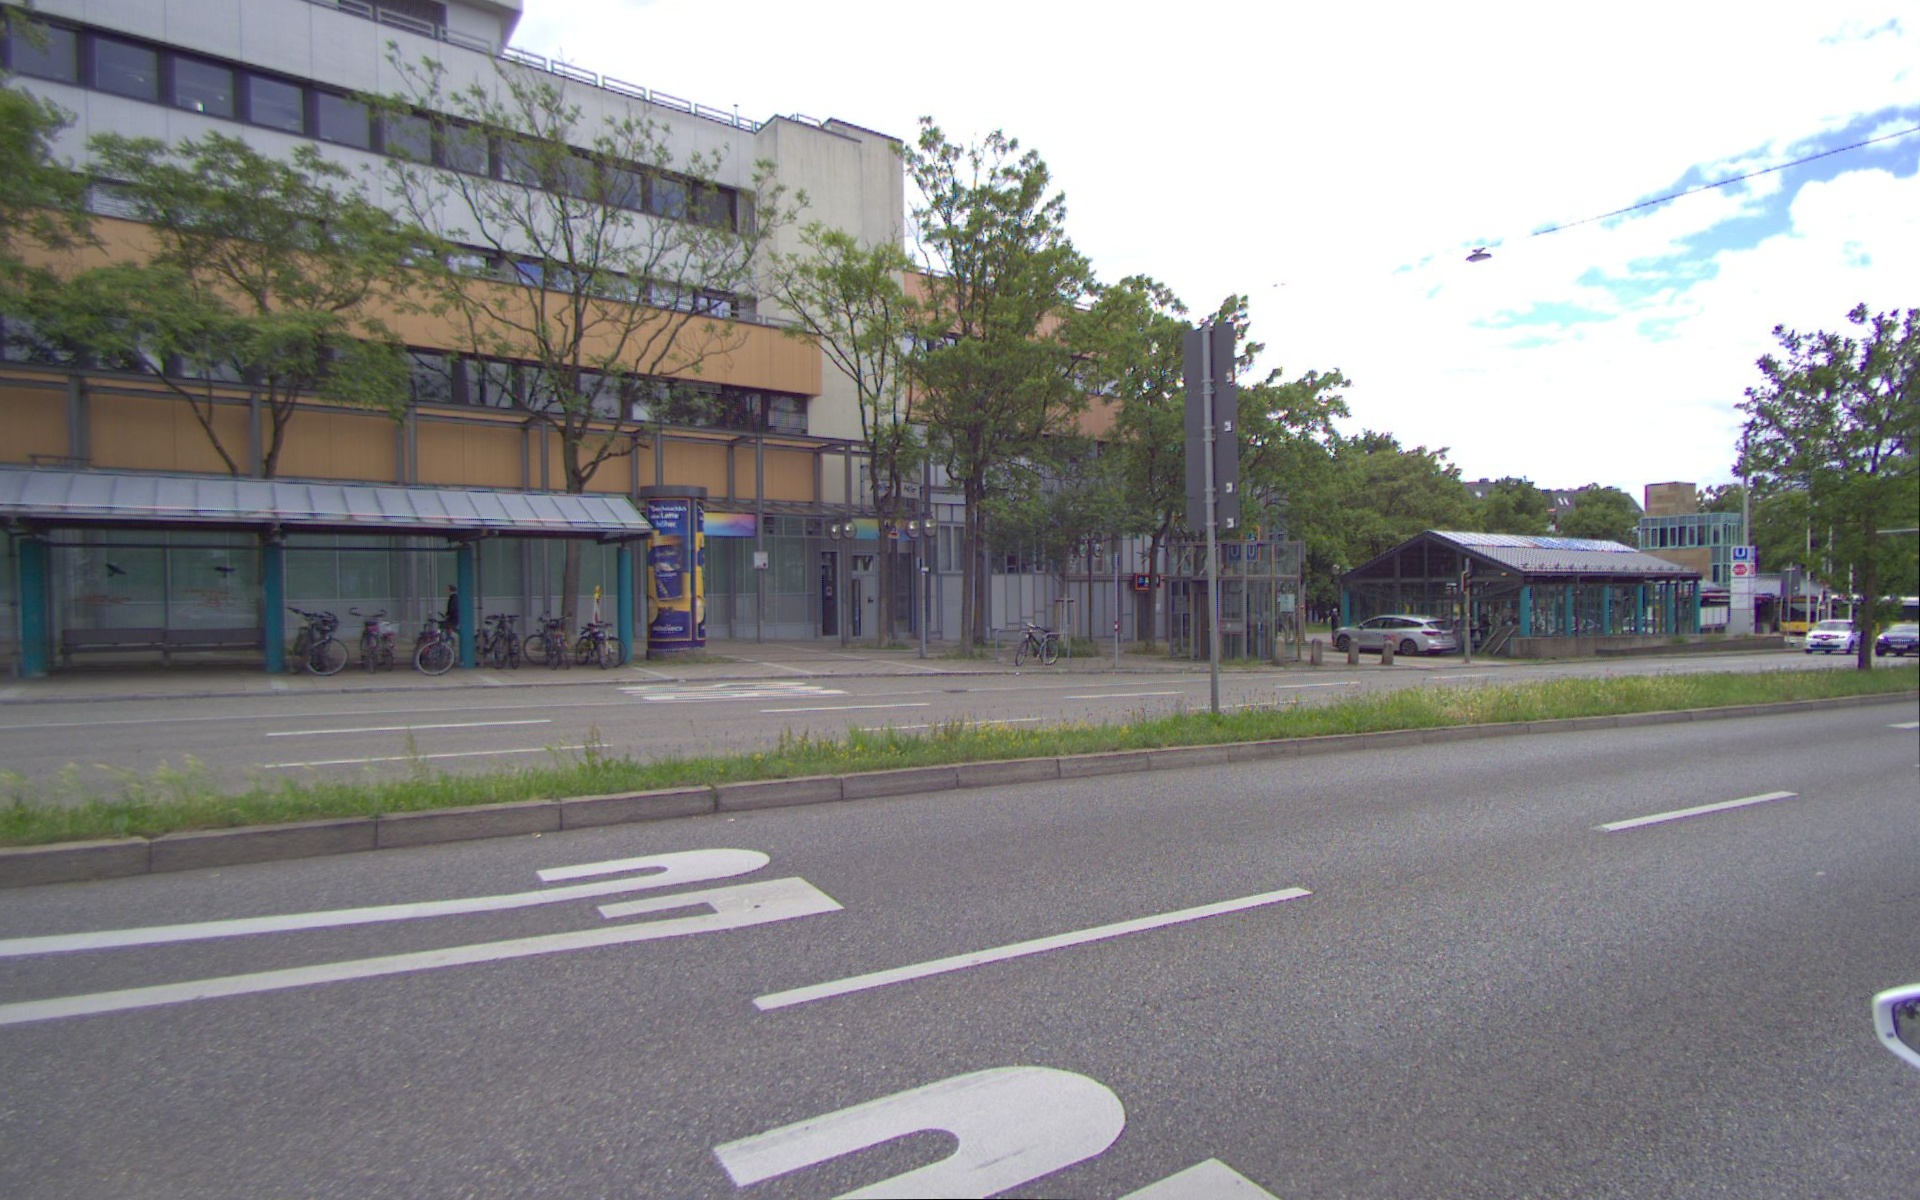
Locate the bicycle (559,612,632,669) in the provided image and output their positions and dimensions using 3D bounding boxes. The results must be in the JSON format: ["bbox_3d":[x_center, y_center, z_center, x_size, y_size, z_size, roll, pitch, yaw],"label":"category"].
[{"bbox_3d":[-8.196,0.888,22.519,2.043,1.169,0.707,1,0,44],"label":"bicycle"}]

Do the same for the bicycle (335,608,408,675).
[{"bbox_3d":[-11.582,0.787,19.731,2.043,1.169,0.707,3,2,44],"label":"bicycle"}]

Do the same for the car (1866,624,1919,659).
[{"bbox_3d":[40.574,1.762,42.844,4.961,1.416,1.802,1,-2,-35],"label":"car"}]

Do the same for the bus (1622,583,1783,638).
[{"bbox_3d":[46.545,0.669,62.811,12.001,3.175,2.946,1,0,-27],"label":"bus"}]

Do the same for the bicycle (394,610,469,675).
[{"bbox_3d":[-10.529,0.821,19.972,2.043,1.169,0.707,2,1,44],"label":"bicycle"}]

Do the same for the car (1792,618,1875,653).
[{"bbox_3d":[39.993,1.584,45.970,3.954,1.537,1.739,1,-1,-31],"label":"car"}]

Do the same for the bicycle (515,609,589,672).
[{"bbox_3d":[-8.864,0.854,21.780,2.043,1.169,0.707,5,3,44],"label":"bicycle"}]

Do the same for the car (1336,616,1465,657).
[{"bbox_3d":[16.316,1.317,37.293,1.985,1.372,3.950,1,-1,-42],"label":"car"}]

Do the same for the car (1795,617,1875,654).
[{"bbox_3d":[40.037,1.595,45.934,3.953,1.595,1.616,1,-1,-30],"label":"car"}]

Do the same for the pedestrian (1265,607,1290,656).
[{"bbox_3d":[10.010,0.985,31.615,0.592,1.477,0.869,2,1,25],"label":"pedestrian"}]

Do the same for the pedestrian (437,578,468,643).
[{"bbox_3d":[-13.190,0.273,26.112,0.667,1.665,0.529,1,0,-30],"label":"pedestrian"}]

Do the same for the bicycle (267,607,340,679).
[{"bbox_3d":[-12.364,0.777,18.884,2.043,1.169,0.707,4,3,44],"label":"bicycle"}]

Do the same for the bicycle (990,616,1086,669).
[{"bbox_3d":[2.093,1.109,26.774,2.401,1.288,1.045,1,2,-35],"label":"bicycle"}]

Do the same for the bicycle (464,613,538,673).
[{"bbox_3d":[-9.666,0.878,21.123,2.043,1.169,0.707,0,0,44],"label":"bicycle"}]
